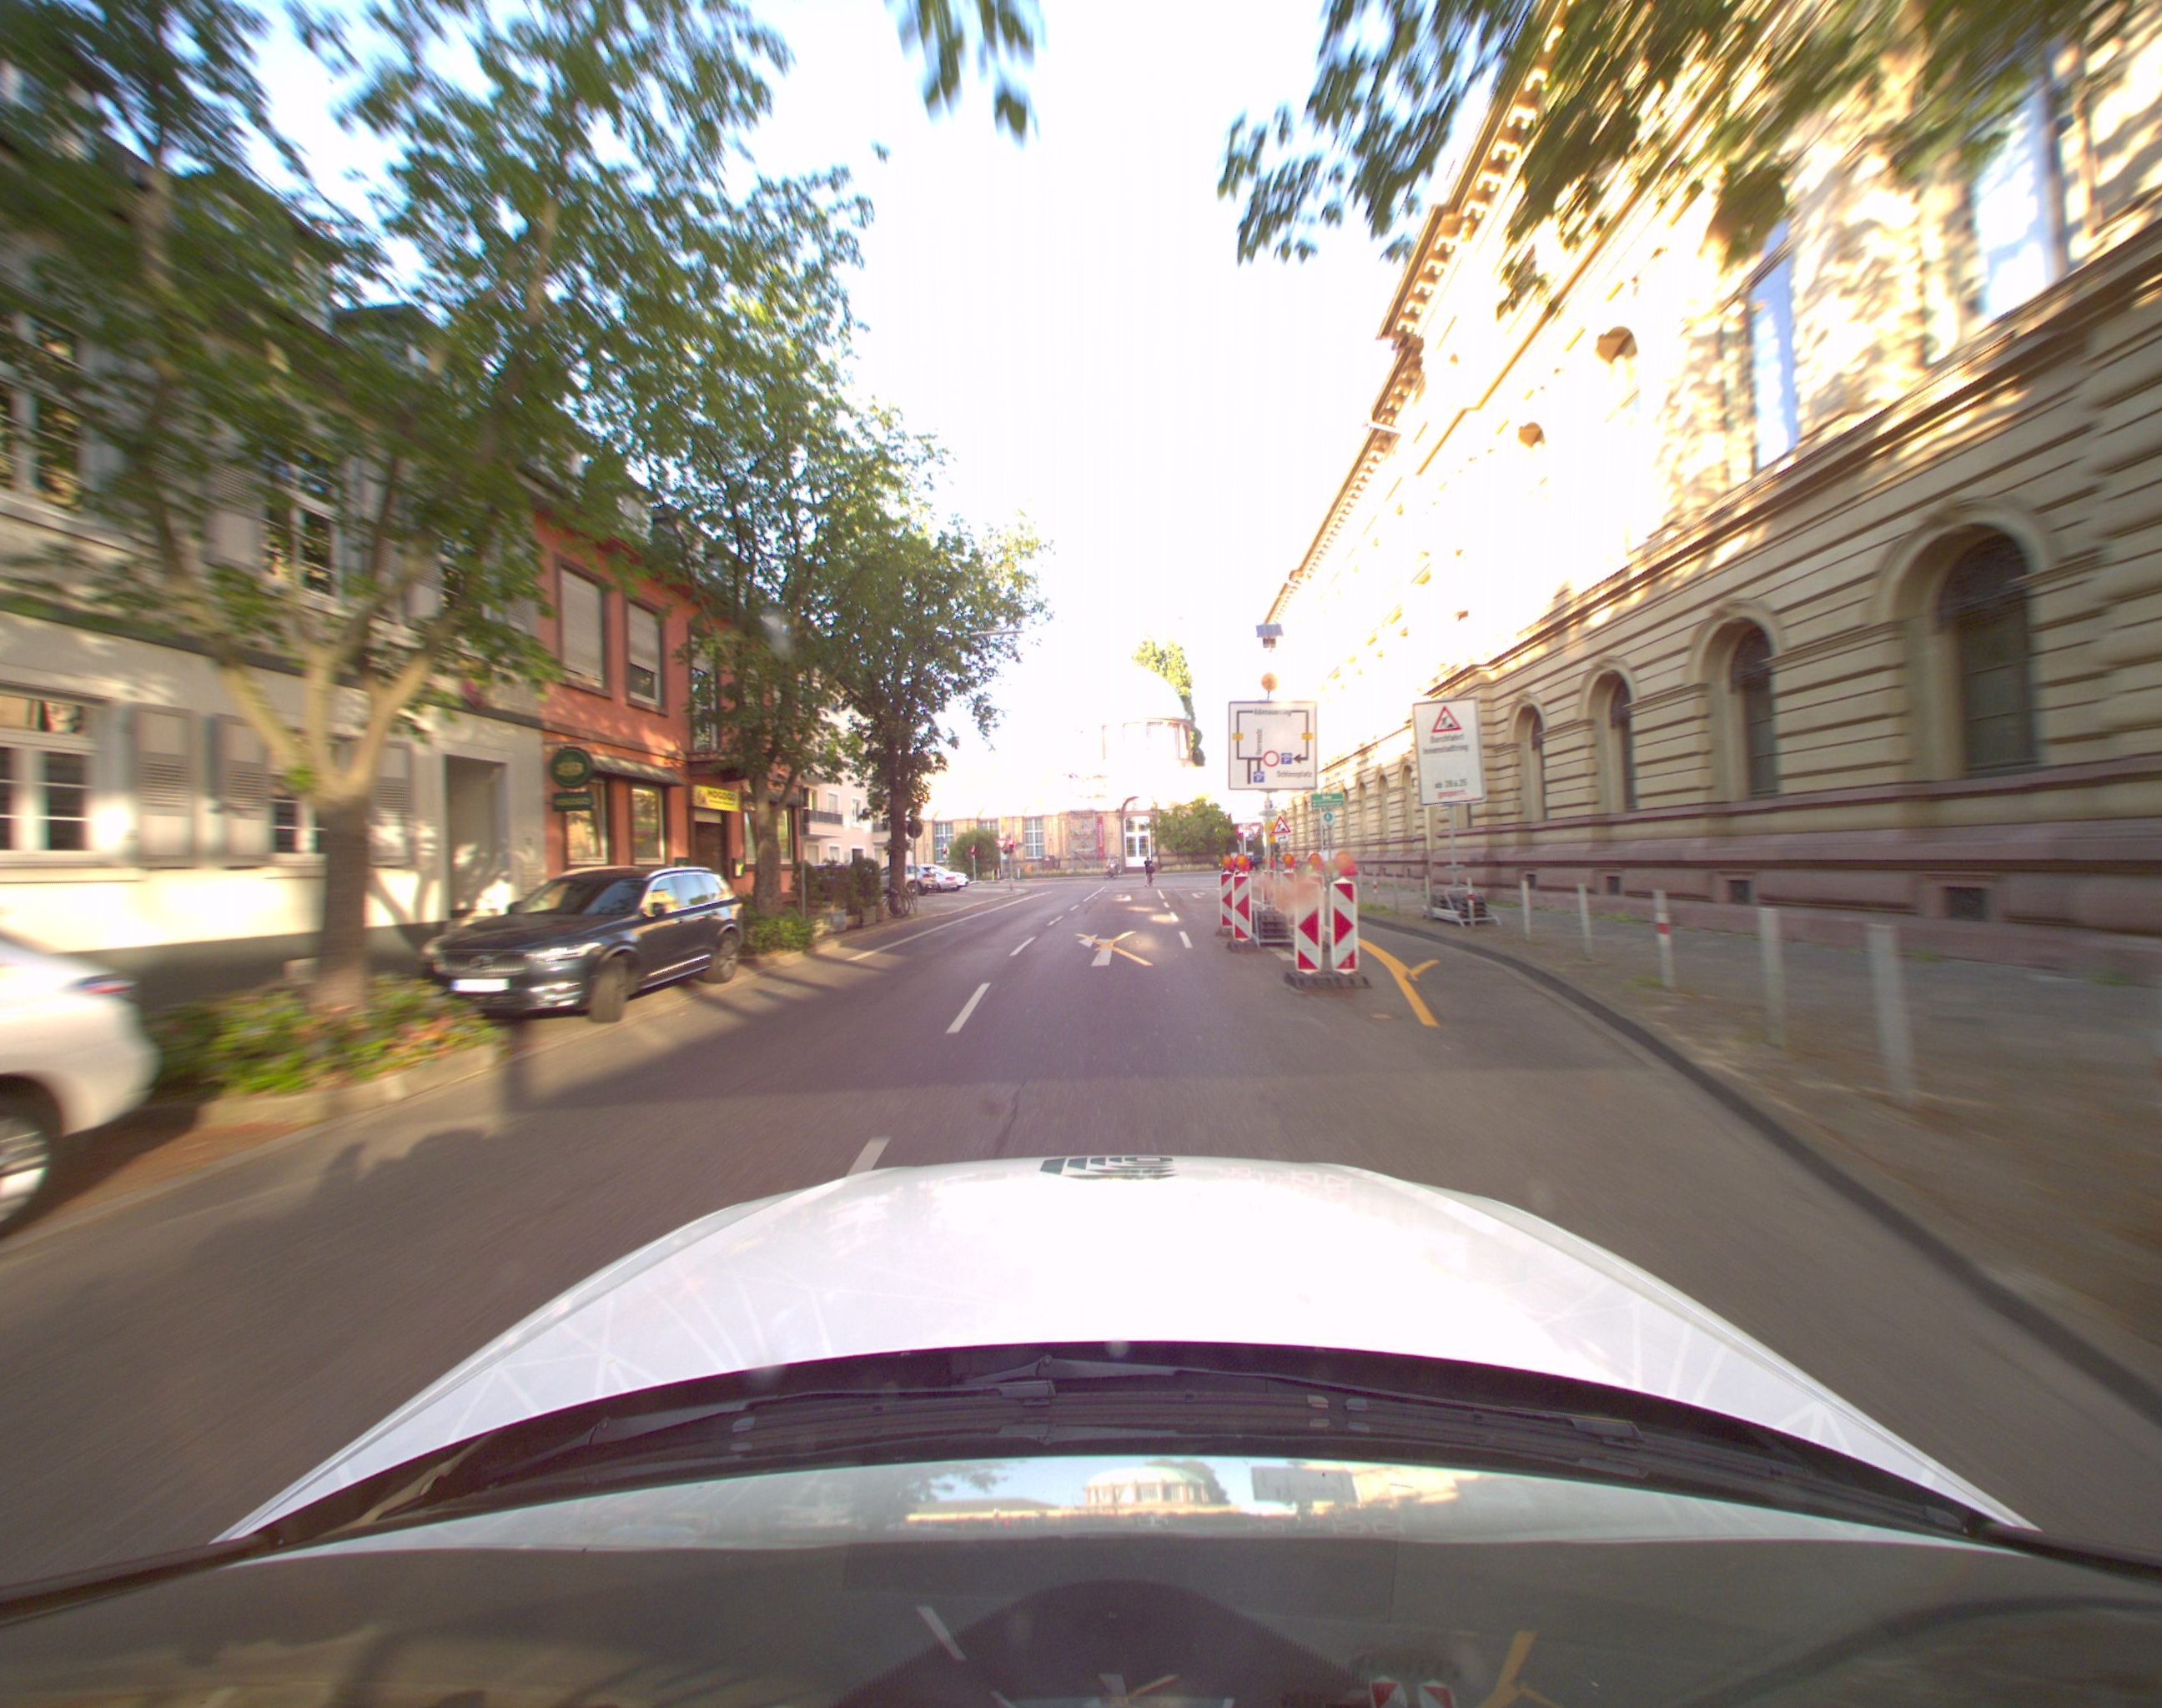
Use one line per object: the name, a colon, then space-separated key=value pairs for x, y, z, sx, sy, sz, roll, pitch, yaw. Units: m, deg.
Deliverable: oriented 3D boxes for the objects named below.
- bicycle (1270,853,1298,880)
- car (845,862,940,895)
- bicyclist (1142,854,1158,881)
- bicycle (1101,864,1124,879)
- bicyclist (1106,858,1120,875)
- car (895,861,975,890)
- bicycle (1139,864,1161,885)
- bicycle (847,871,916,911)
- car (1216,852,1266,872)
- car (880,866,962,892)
bicycle: x=9.304 y=0.570 z=37.379 sx=0.823 sy=1.134 sz=1.947 roll=-5 pitch=-1 yaw=4
car: x=-9.676 y=1.233 z=42.103 sx=4.400 sy=1.605 sz=1.917 roll=-1 pitch=0 yaw=2
bicyclist: x=3.965 y=0.788 z=46.852 sx=0.710 sy=1.502 sz=0.854 roll=-3 pitch=-2 yaw=19
bicycle: x=2.526 y=1.381 z=65.691 sx=0.619 sy=1.156 sz=2.065 roll=-4 pitch=-3 yaw=42
bicyclist: x=2.562 y=0.998 z=65.754 sx=0.619 sy=1.364 sz=0.935 roll=-4 pitch=-3 yaw=43
car: x=-8.776 y=1.292 z=49.214 sx=4.422 sy=1.641 sz=1.943 roll=-1 pitch=0 yaw=2
bicycle: x=3.981 y=1.198 z=46.855 sx=0.705 sy=1.156 sz=2.078 roll=-3 pitch=-2 yaw=19
bicycle: x=-5.929 y=1.093 z=24.280 sx=1.862 sy=1.104 sz=0.610 roll=-2 pitch=-1 yaw=-3
car: x=13.671 y=0.660 z=69.655 sx=3.830 sy=1.471 sz=1.662 roll=-3 pitch=0 yaw=-1
car: x=-9.113 y=1.427 z=46.494 sx=4.249 sy=1.380 sz=1.737 roll=-1 pitch=0 yaw=2
